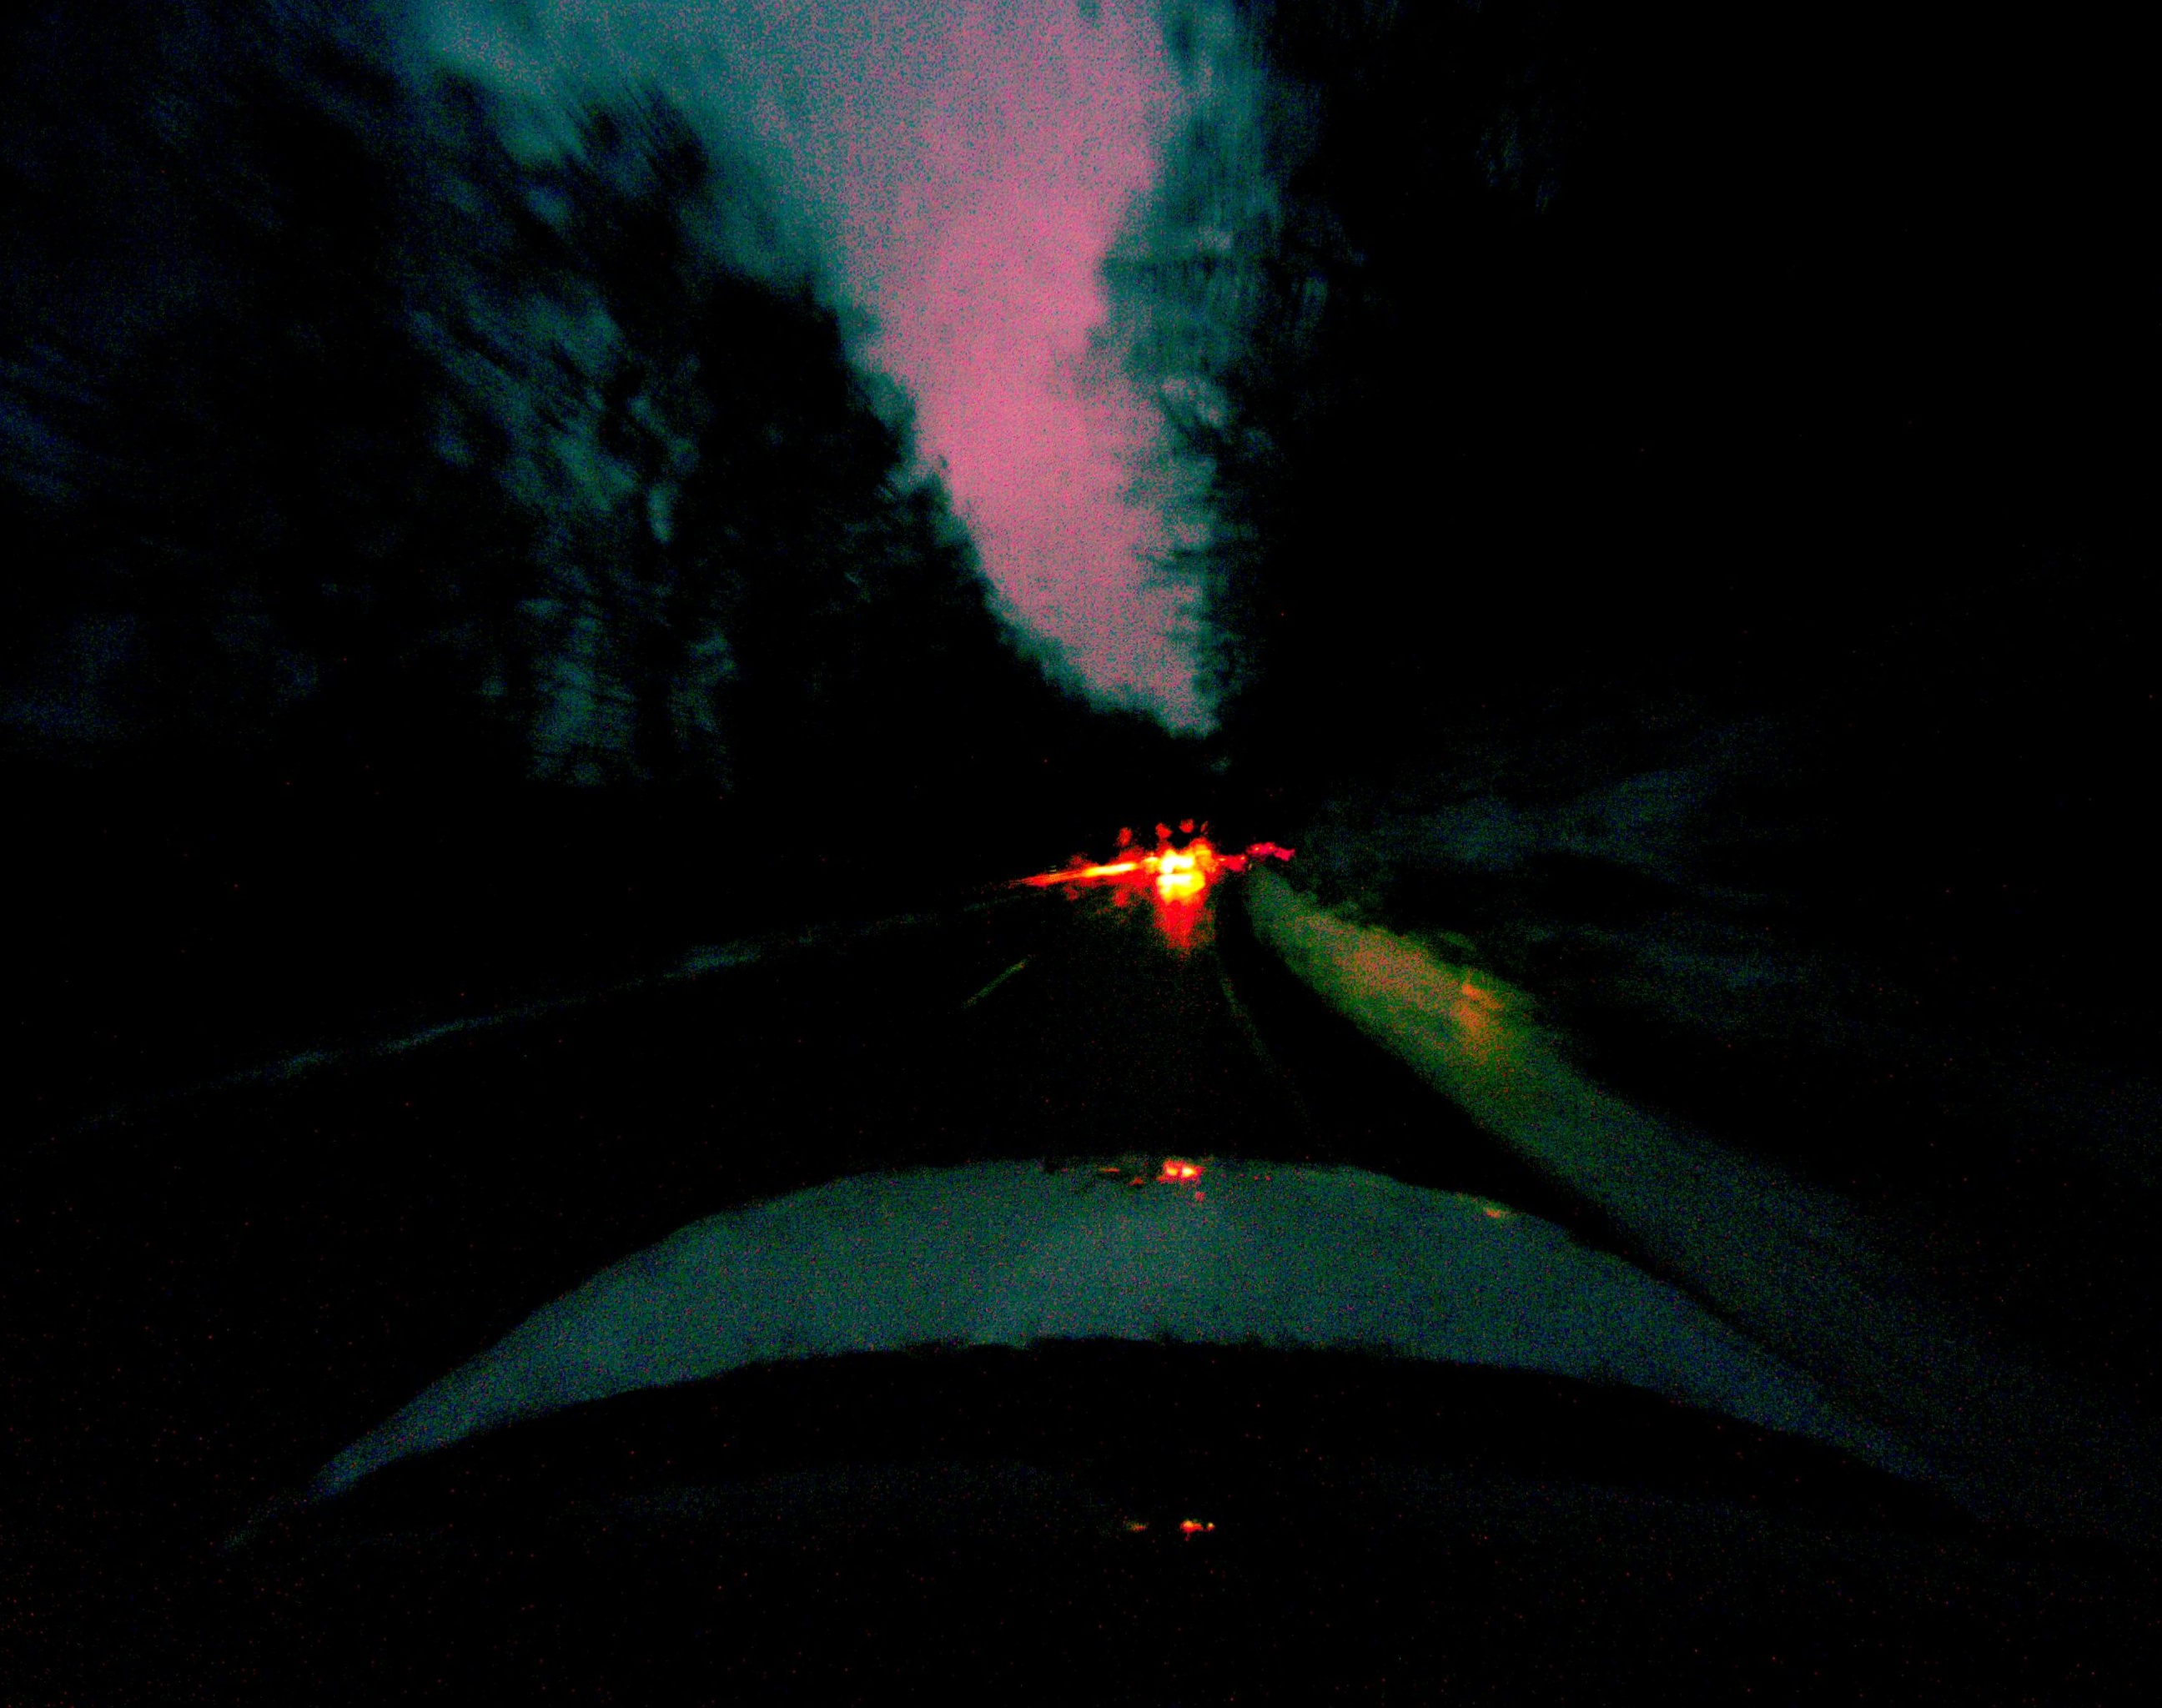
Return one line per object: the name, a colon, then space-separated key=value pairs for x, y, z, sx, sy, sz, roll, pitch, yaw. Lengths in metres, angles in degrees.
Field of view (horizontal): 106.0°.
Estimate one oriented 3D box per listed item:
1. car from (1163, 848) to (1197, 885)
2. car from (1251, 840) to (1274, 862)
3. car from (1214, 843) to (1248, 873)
car: x=6.448 y=0.849 z=52.691 sx=2.047 sy=2.151 sz=4.008 roll=0 pitch=-4 yaw=8
car: x=17.339 y=-0.258 z=77.758 sx=1.853 sy=1.919 sz=4.016 roll=0 pitch=-3 yaw=16
car: x=9.948 y=0.268 z=53.801 sx=1.980 sy=1.873 sz=4.014 roll=-1 pitch=-1 yaw=13
